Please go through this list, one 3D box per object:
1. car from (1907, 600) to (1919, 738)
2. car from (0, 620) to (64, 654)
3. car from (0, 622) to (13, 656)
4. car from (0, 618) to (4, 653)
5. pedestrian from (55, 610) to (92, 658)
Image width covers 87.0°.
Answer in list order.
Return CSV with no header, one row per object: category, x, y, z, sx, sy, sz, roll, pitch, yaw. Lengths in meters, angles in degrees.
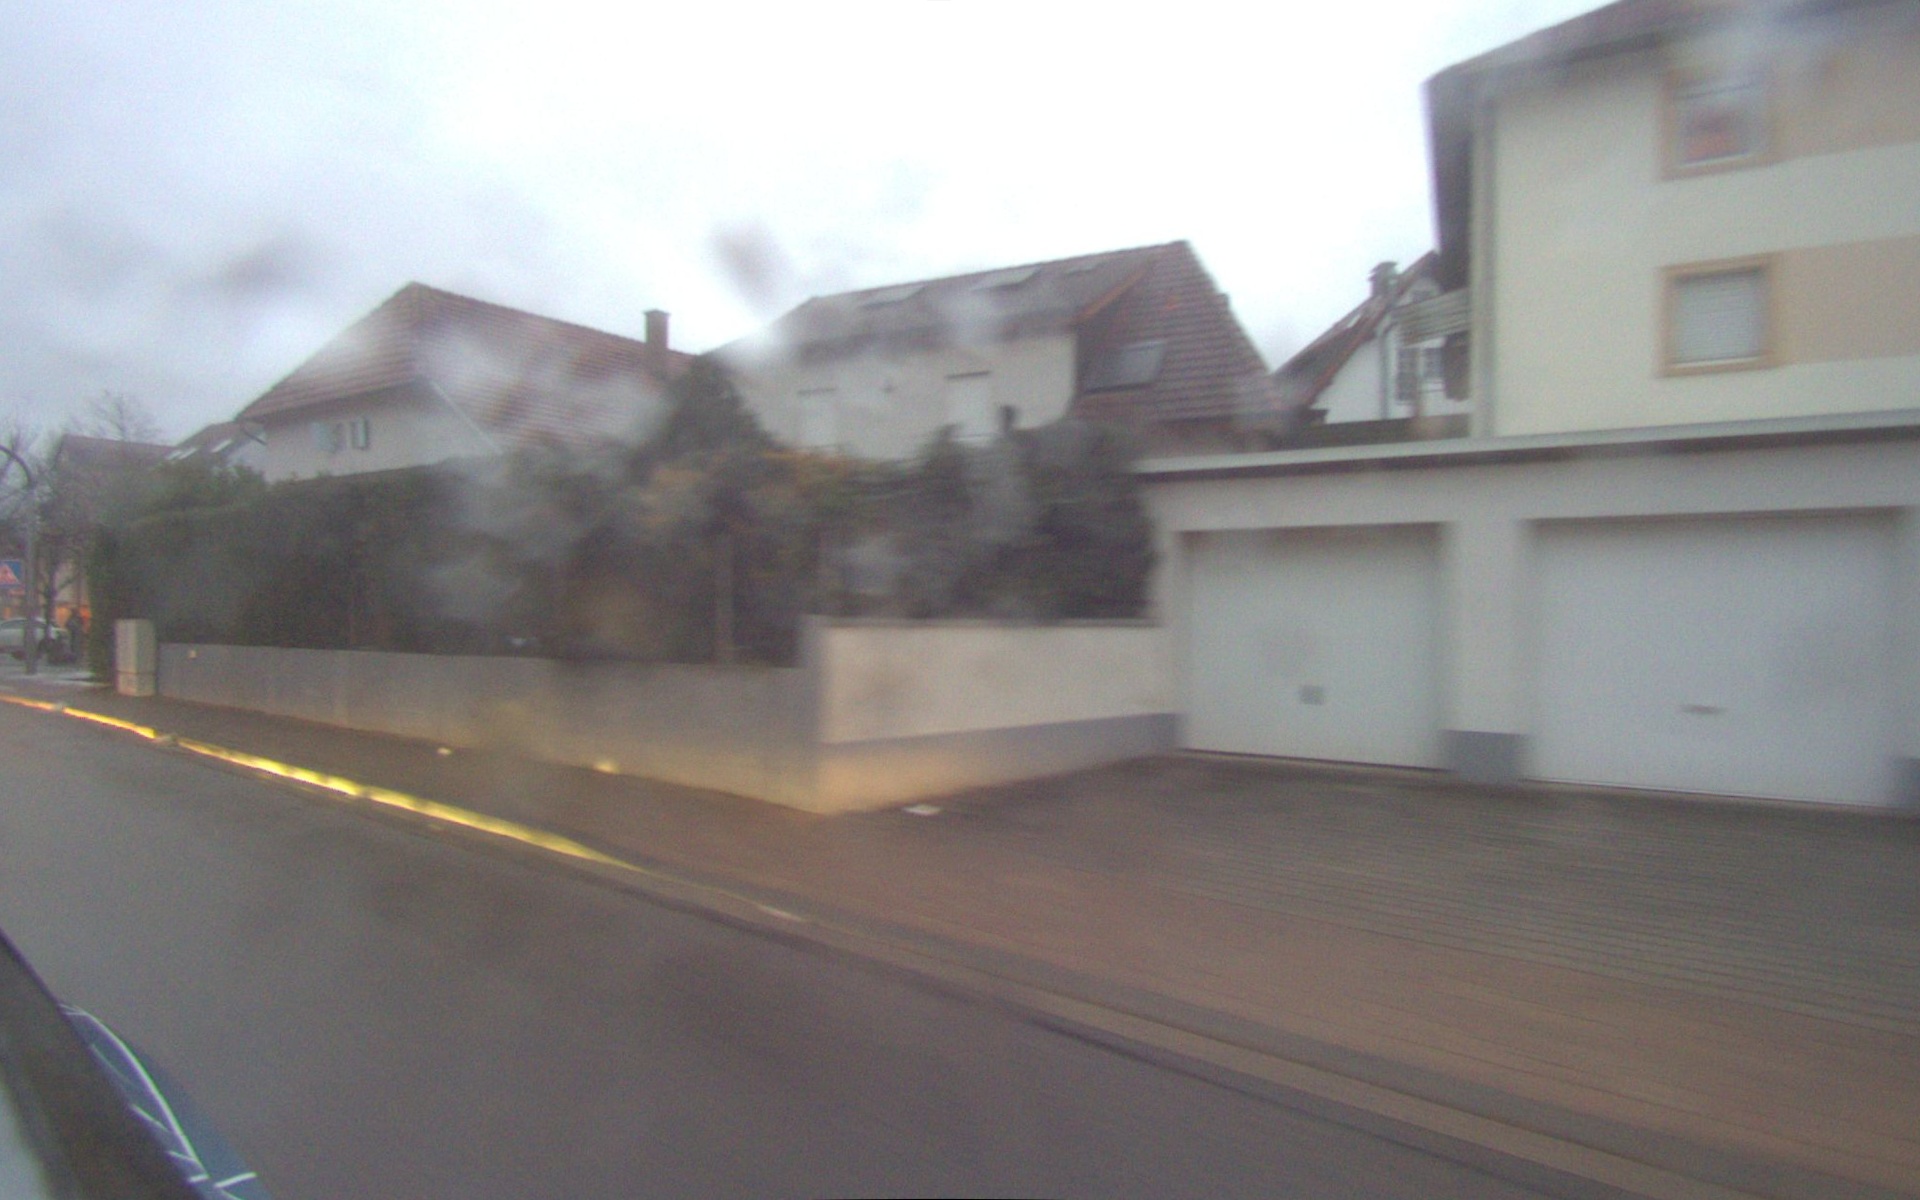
car,9.727,0.671,8.414,1.994,1.413,3.955,-1,-1,33
car,-41.614,1.630,44.196,3.426,1.420,1.615,-1,0,-30
car,-48.702,1.912,49.073,3.937,1.645,1.637,0,-2,-41
car,-46.634,1.694,46.569,3.573,1.624,1.615,-1,0,-32
pedestrian,-32.506,1.240,37.119,0.955,1.748,0.871,-2,-1,40
